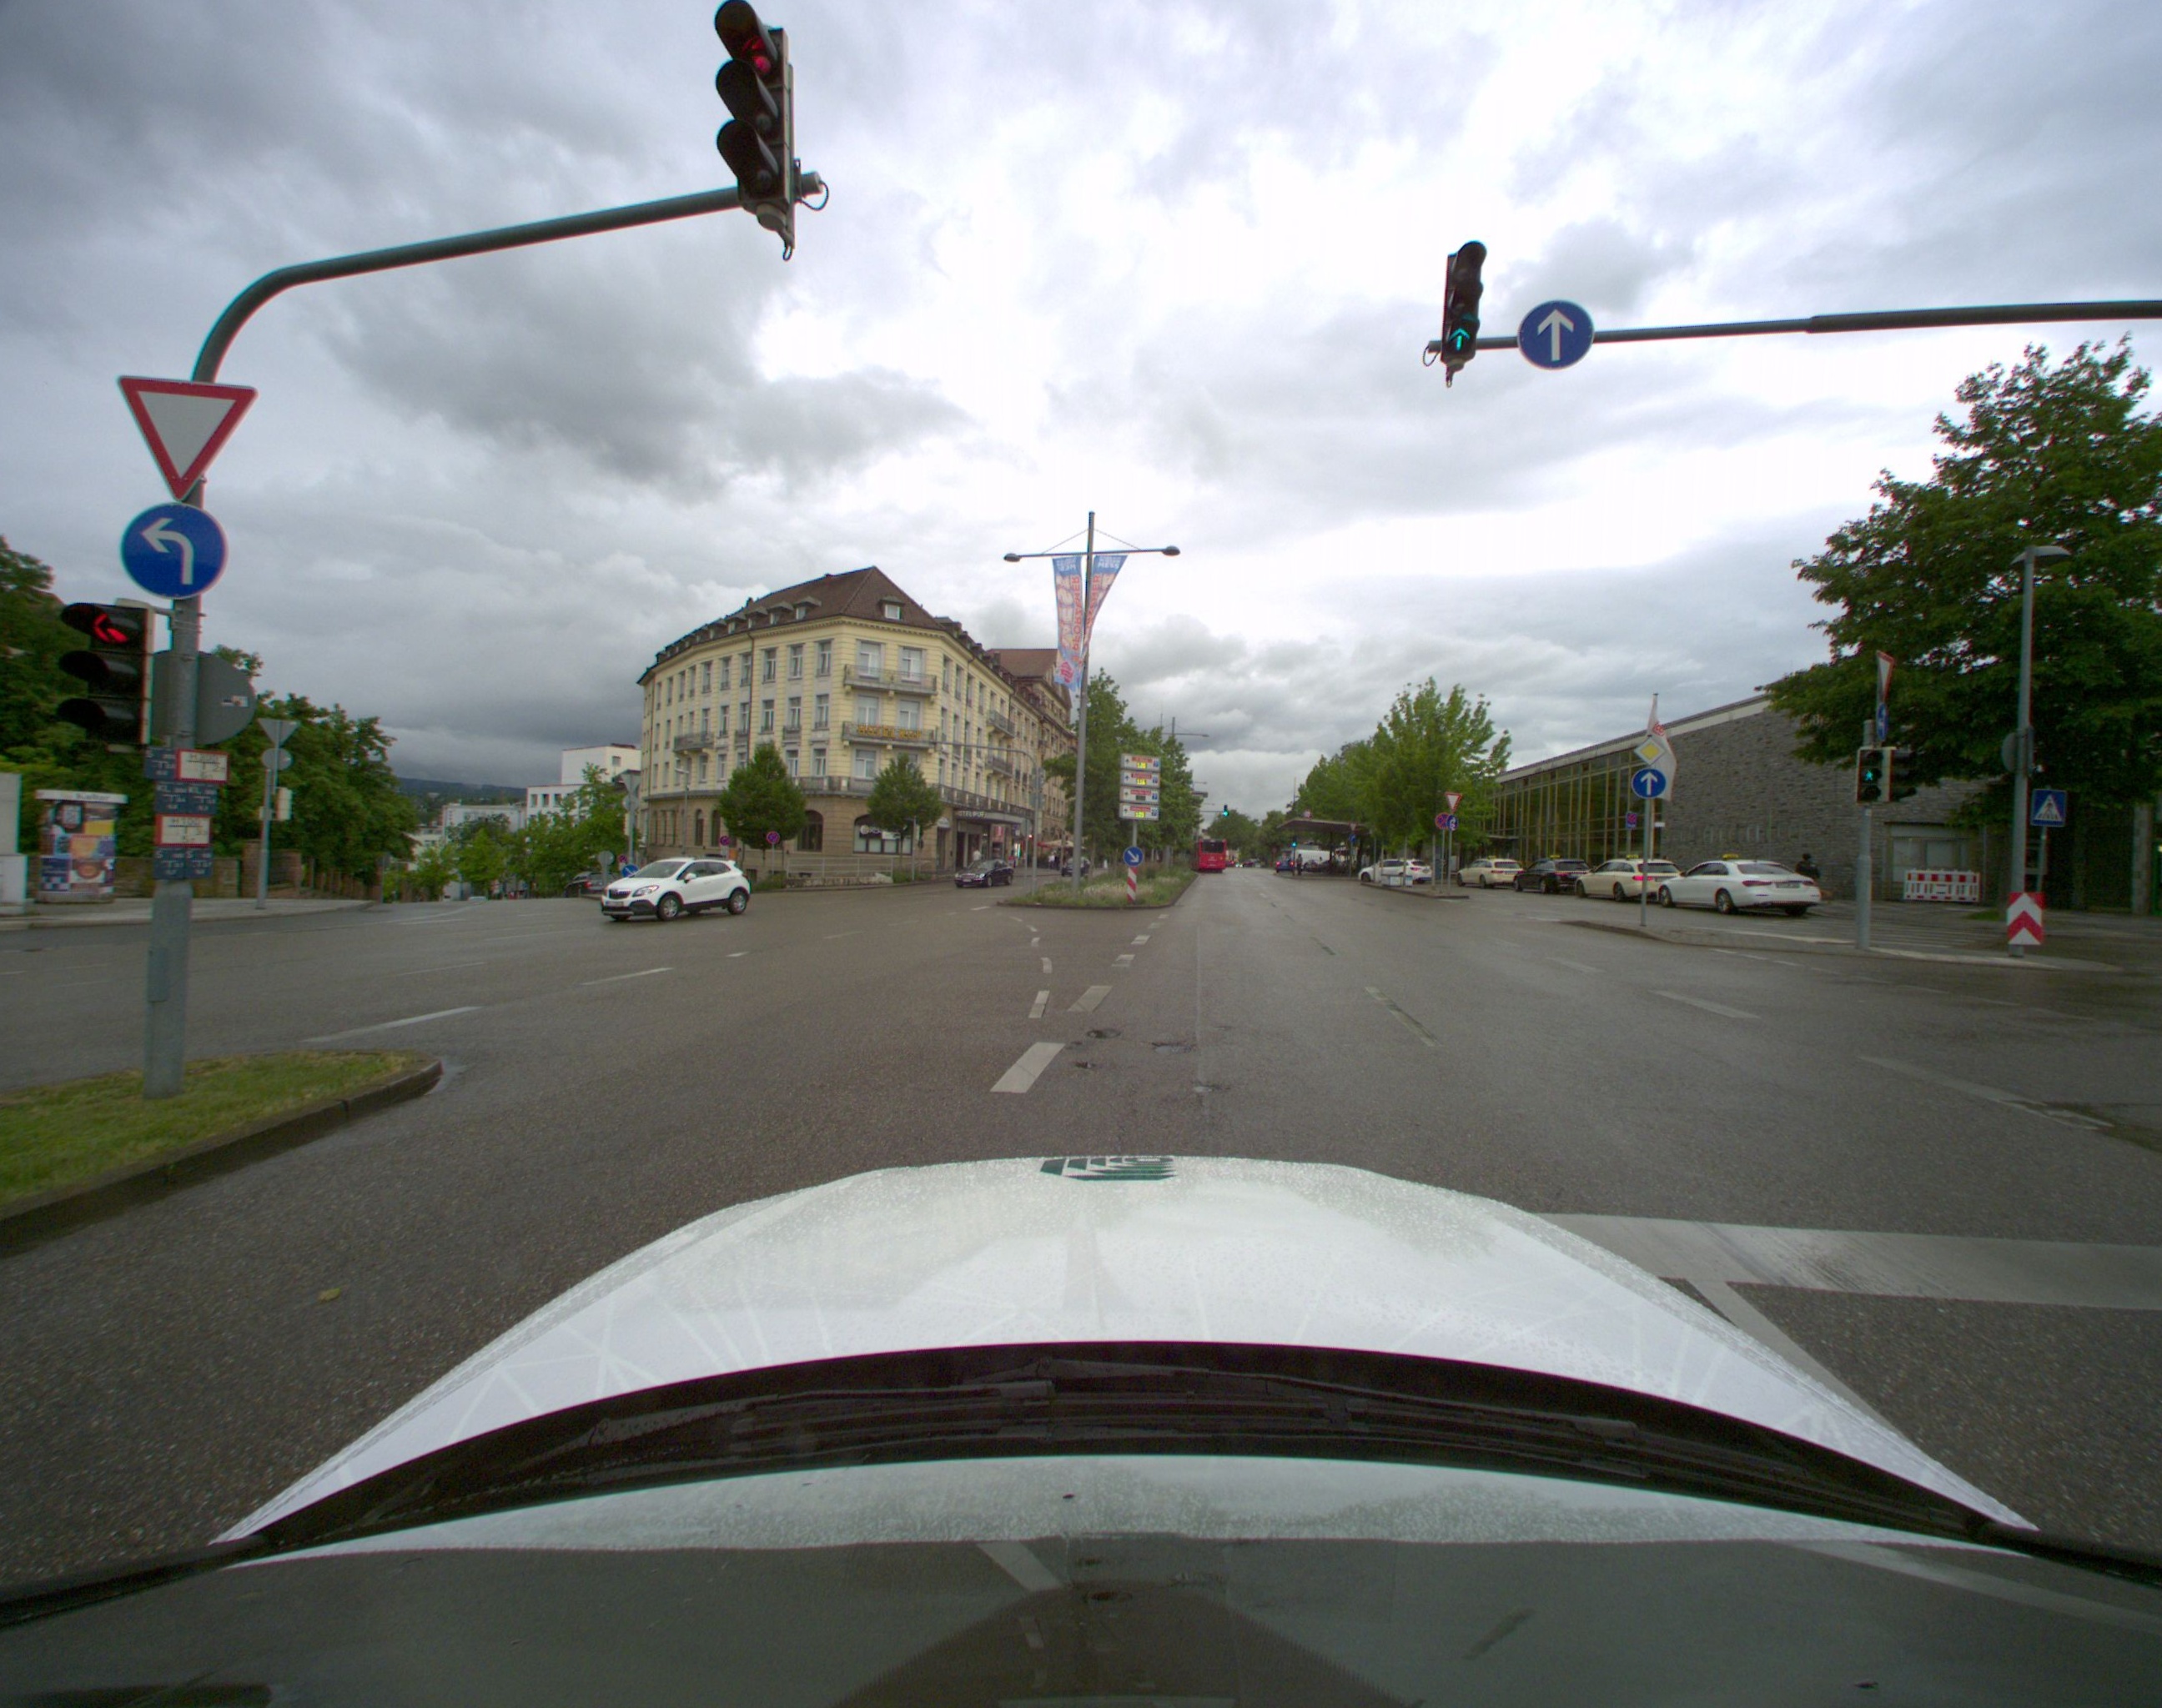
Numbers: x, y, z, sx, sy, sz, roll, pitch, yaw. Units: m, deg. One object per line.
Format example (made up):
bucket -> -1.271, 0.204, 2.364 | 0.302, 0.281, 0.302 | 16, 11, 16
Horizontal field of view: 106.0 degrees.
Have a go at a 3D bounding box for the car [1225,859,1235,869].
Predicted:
car -> 31.049, 2.060, 170.207 | 1.981, 2.014, 4.011 | -1, -1, 10

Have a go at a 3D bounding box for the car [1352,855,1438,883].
car -> 18.583, 0.873, 48.459 | 1.769, 1.546, 4.731 | 1, -1, -30

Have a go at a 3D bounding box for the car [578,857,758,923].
car -> -11.056, 0.903, 22.190 | 1.940, 1.618, 4.227 | -1, -1, 17

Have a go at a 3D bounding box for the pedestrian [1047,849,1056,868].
pedestrian -> -2.633, 0.426, 72.875 | 0.677, 1.664, 0.810 | -1, -1, 13

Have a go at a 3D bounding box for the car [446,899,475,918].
car -> -55.092, 4.825, 72.305 | 1.640, 1.398, 3.960 | 0, -1, -31

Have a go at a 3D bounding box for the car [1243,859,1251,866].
car -> 36.723, 1.935, 180.520 | 1.585, 1.561, 3.660 | -1, -1, 10

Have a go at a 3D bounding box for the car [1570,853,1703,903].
car -> 19.287, 0.778, 28.571 | 1.981, 1.599, 4.972 | -1, 0, 10

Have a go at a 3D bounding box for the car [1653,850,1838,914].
car -> 18.330, 0.737, 22.820 | 1.868, 1.599, 4.916 | -1, -1, 10

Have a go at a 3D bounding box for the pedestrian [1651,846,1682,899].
pedestrian -> 24.216, 0.783, 33.699 | 0.789, 2.164, 0.725 | -1, -1, 12

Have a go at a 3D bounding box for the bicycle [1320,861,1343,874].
bicycle -> 21.067, 1.105, 68.586 | 1.826, 1.056, 0.419 | 0, -1, -9

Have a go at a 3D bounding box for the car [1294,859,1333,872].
car -> 26.634, 1.294, 93.306 | 3.996, 1.443, 1.854 | 1, -1, -17

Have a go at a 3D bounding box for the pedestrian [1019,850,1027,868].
pedestrian -> -5.454, 0.446, 76.167 | 0.664, 1.664, 0.537 | 0, -1, 1

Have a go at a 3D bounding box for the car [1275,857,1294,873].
car -> 20.700, 1.114, 82.810 | 1.845, 1.569, 4.014 | 1, -1, 14

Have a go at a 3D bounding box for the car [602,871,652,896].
car -> -28.986, 1.857, 51.952 | 1.780, 1.478, 3.950 | 0, -1, -45

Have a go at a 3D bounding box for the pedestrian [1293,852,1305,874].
pedestrian -> 17.246, 0.710, 64.504 | 0.743, 1.747, 0.836 | 0, -1, 2

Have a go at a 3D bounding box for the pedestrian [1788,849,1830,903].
pedestrian -> 22.344, 0.666, 24.990 | 0.726, 1.626, 0.789 | 0, -1, -35

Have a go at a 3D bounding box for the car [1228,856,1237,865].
car -> 34.412, 1.558, 185.367 | 1.981, 2.014, 4.011 | -1, -1, 10

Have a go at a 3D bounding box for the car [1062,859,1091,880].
car -> -0.296, 1.170, 61.425 | 1.668, 1.512, 3.871 | -1, -1, 8

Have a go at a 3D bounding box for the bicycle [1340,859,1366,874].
bicycle -> 20.079, 0.929, 60.107 | 1.816, 1.056, 0.421 | -1, -1, 9

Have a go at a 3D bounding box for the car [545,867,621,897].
car -> -25.464, 1.415, 41.613 | 4.394, 1.466, 1.711 | -1, -1, 35

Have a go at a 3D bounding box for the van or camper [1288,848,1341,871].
van or camper -> 28.447, 0.629, 99.168 | 5.961, 2.763, 2.186 | 0, -1, -18

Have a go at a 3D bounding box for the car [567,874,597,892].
car -> -44.796, 2.598, 73.108 | 1.779, 1.478, 3.954 | 0, -1, -39

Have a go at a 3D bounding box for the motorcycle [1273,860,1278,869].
motorcycle -> 27.832, 1.473, 116.419 | 0.591, 1.288, 1.961 | 0, 0, 15

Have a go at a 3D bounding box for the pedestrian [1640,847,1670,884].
pedestrian -> 24.986, 0.486, 35.459 | 0.764, 1.580, 0.712 | -1, -1, 6

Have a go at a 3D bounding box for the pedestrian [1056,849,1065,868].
pedestrian -> -1.809, 0.401, 72.668 | 0.677, 1.664, 0.809 | -1, -1, 10

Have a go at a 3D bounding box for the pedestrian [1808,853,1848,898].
pedestrian -> 25.472, 0.723, 27.762 | 0.798, 1.477, 0.717 | 0, -1, -21

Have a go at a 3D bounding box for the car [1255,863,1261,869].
car -> 50.784, 3.353, 233.837 | 1.634, 1.661, 3.660 | -1, -1, 10

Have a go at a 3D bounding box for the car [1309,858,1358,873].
car -> 24.444, 1.137, 79.023 | 4.185, 1.325, 1.834 | 1, -1, -10

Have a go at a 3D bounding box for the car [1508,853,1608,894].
car -> 20.316, 0.787, 34.945 | 1.982, 1.599, 4.970 | 1, 0, 9

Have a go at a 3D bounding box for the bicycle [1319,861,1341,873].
bicycle -> 21.131, 1.110, 69.061 | 1.826, 1.056, 0.419 | 0, -1, -9

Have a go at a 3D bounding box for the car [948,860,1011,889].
car -> -5.235, 1.053, 42.559 | 1.942, 1.422, 4.014 | -1, -1, 13

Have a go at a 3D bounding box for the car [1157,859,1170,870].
car -> 15.715, 2.012, 155.406 | 1.980, 2.014, 5.016 | -1, -1, 11

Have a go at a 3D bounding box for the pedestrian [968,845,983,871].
pedestrian -> -7.357, 0.306, 56.750 | 0.874, 1.813, 0.752 | -1, -1, 9

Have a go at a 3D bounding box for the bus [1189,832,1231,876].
bus -> 12.403, 0.096, 79.252 | 3.526, 3.980, 11.190 | -1, -1, 6

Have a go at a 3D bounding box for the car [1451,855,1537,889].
car -> 20.865, 0.855, 41.371 | 1.986, 1.599, 4.961 | -1, 0, 2
